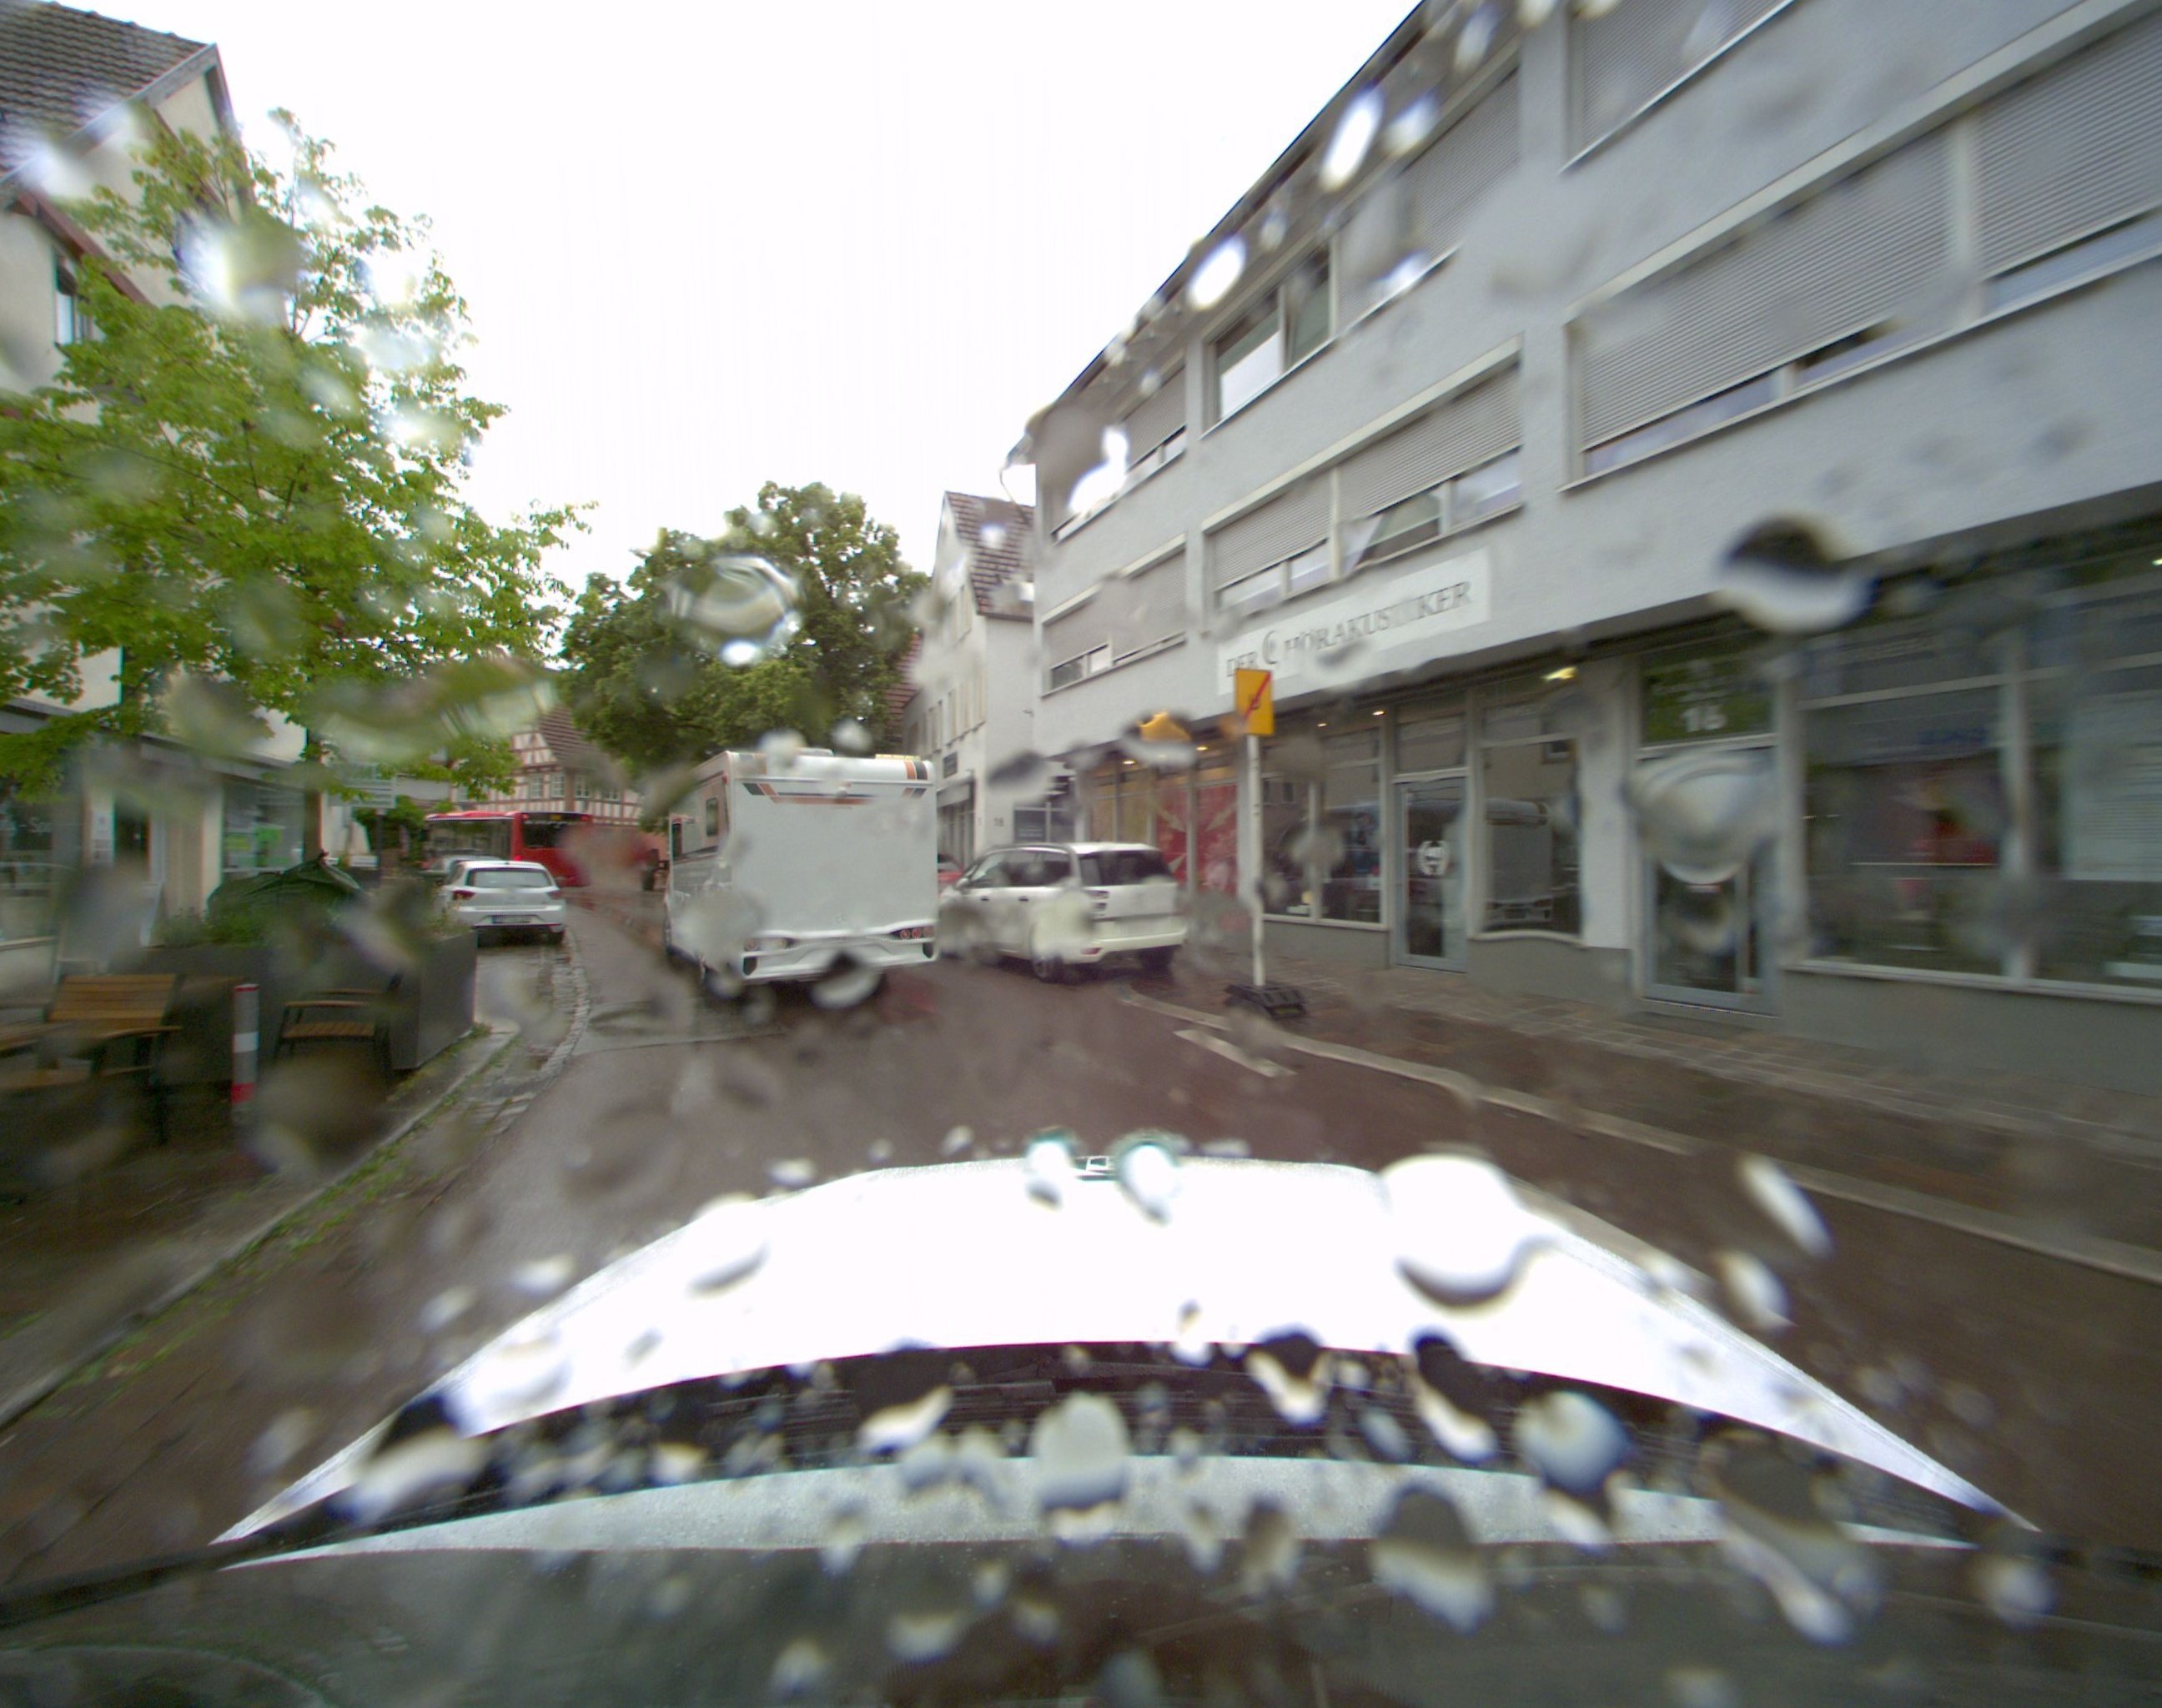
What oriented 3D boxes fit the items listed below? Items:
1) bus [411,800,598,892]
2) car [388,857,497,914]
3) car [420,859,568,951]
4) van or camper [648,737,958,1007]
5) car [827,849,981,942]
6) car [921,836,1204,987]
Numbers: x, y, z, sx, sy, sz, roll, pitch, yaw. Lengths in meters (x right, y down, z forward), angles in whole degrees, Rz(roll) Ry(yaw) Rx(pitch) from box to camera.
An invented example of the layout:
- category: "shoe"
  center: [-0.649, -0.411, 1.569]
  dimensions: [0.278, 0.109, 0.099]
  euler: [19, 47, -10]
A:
- category: "bus"
  center: [-22.674, -0.260, 31.684]
  dimensions: [10.470, 3.088, 2.840]
  euler: [0, 0, 37]
- category: "car"
  center: [-18.108, 0.832, 23.036]
  dimensions: [3.930, 1.414, 1.737]
  euler: [1, 0, 42]
- category: "car"
  center: [-10.842, 0.840, 14.938]
  dimensions: [1.736, 1.414, 3.933]
  euler: [3, -1, -42]
- category: "van or camper"
  center: [-4.241, 0.179, 11.277]
  dimensions: [2.455, 2.585, 6.680]
  euler: [0, 0, -34]
- category: "car"
  center: [-3.485, 0.692, 15.576]
  dimensions: [1.688, 1.528, 3.761]
  euler: [-1, 1, -32]
- category: "car"
  center: [-0.493, 0.632, 11.139]
  dimensions: [1.788, 1.631, 4.422]
  euler: [-1, 0, -33]
